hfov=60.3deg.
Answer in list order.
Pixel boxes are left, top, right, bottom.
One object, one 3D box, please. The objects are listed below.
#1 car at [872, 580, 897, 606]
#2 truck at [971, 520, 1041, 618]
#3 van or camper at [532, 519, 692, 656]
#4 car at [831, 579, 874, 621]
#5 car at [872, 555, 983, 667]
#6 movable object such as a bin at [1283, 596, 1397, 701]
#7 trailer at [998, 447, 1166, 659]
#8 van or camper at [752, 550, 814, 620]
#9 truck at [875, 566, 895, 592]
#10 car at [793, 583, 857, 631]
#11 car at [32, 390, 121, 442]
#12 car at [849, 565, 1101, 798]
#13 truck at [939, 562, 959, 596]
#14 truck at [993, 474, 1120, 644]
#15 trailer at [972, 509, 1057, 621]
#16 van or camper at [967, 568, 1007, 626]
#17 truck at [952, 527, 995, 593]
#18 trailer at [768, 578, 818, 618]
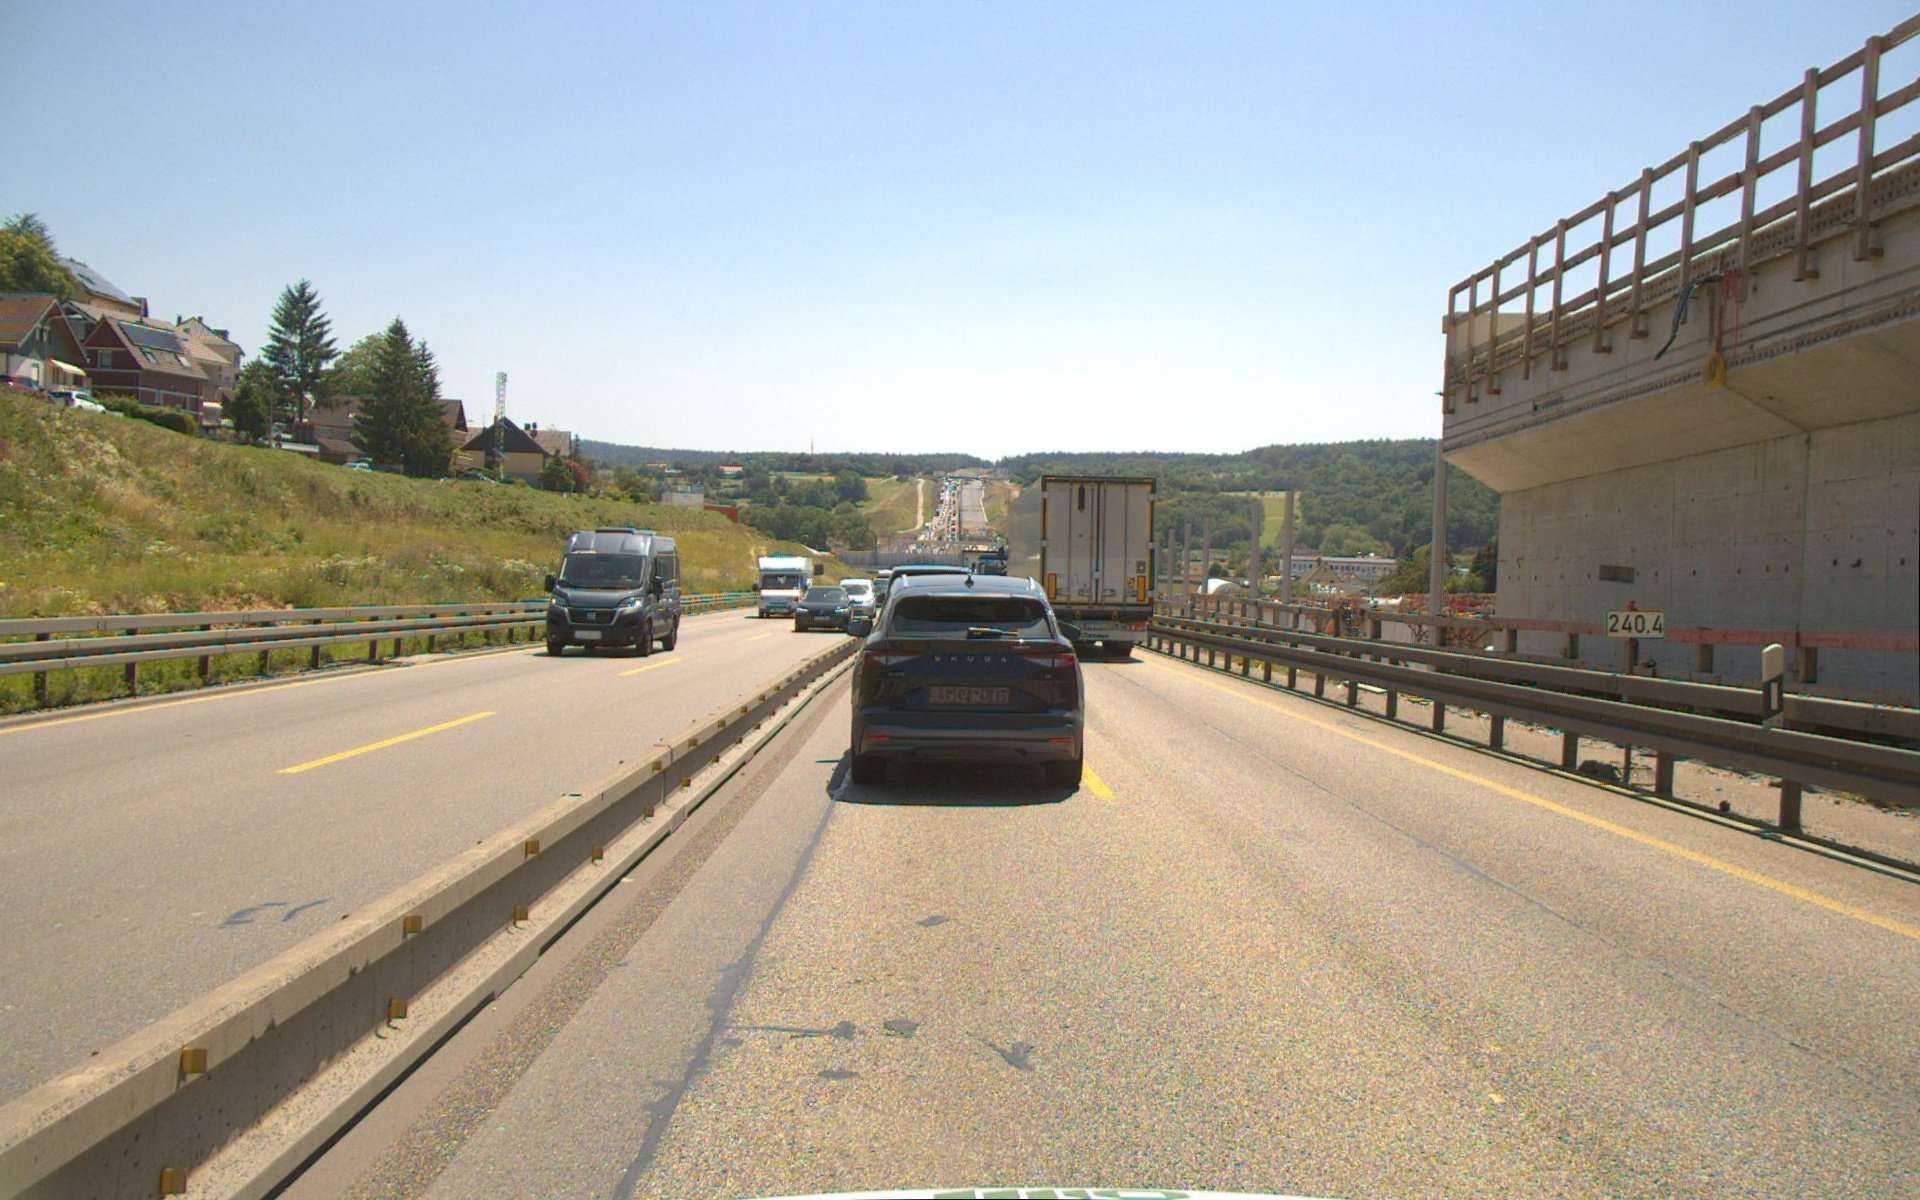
[{"bbox_3d":[-4.693,-0.441,103.216,1.453,1.531,2.804,1,0,-1],"label":"car"},{"bbox_3d":[2.230,-1.430,83.076,3.116,4.592,8.163,1,-1,-1],"label":"truck"},{"bbox_3d":[-7.313,-0.252,35.485,2.096,2.618,6.563,1,0,-1],"label":"van or camper"},{"bbox_3d":[-4.952,-0.005,76.688,1.800,1.860,5.039,1,0,-2],"label":"car"},{"bbox_3d":[-0.624,0.225,31.630,1.953,1.959,4.506,1,-1,-1],"label":"car"},{"bbox_3d":[18.530,2.288,81.382,3.162,4.826,9.652,1,-1,-1],"label":"movable object such as a bin"},{"bbox_3d":[2.824,-1.114,42.834,3.116,4.591,13.106,1,1,-1],"label":"trailer"},{"bbox_3d":[-8.291,-0.705,78.085,2.244,3.120,6.922,1,0,-1],"label":"van or camper"},{"bbox_3d":[-10.880,-3.048,240.455,2.723,3.736,6.275,1,0,-1],"label":"truck"},{"bbox_3d":[-4.440,0.203,54.871,1.805,1.501,4.834,1,0,-1],"label":"car"},{"bbox_3d":[-46.455,-9.665,87.099,2.301,2.077,4.814,1,-1,-4],"label":"car"},{"bbox_3d":[0.099,0.586,13.756,1.765,1.635,4.000,1,0,0],"label":"car"},{"bbox_3d":[-1.498,-2.759,222.962,2.586,4.267,9.281,1,-1,-1],"label":"truck"},{"bbox_3d":[2.735,-1.167,49.319,3.116,4.591,8.164,1,1,-1],"label":"truck"},{"bbox_3d":[2.320,-1.358,75.903,3.116,4.592,14.962,1,-1,-1],"label":"trailer"},{"bbox_3d":[1.642,-0.132,99.982,2.339,3.338,6.469,1,-1,1],"label":"van or camper"},{"bbox_3d":[0.946,-2.938,125.731,2.794,4.543,11.913,1,-1,-1],"label":"truck"},{"bbox_3d":[-8.457,-0.133,83.991,2.059,1.927,5.140,1,0,-1],"label":"trailer"}]
